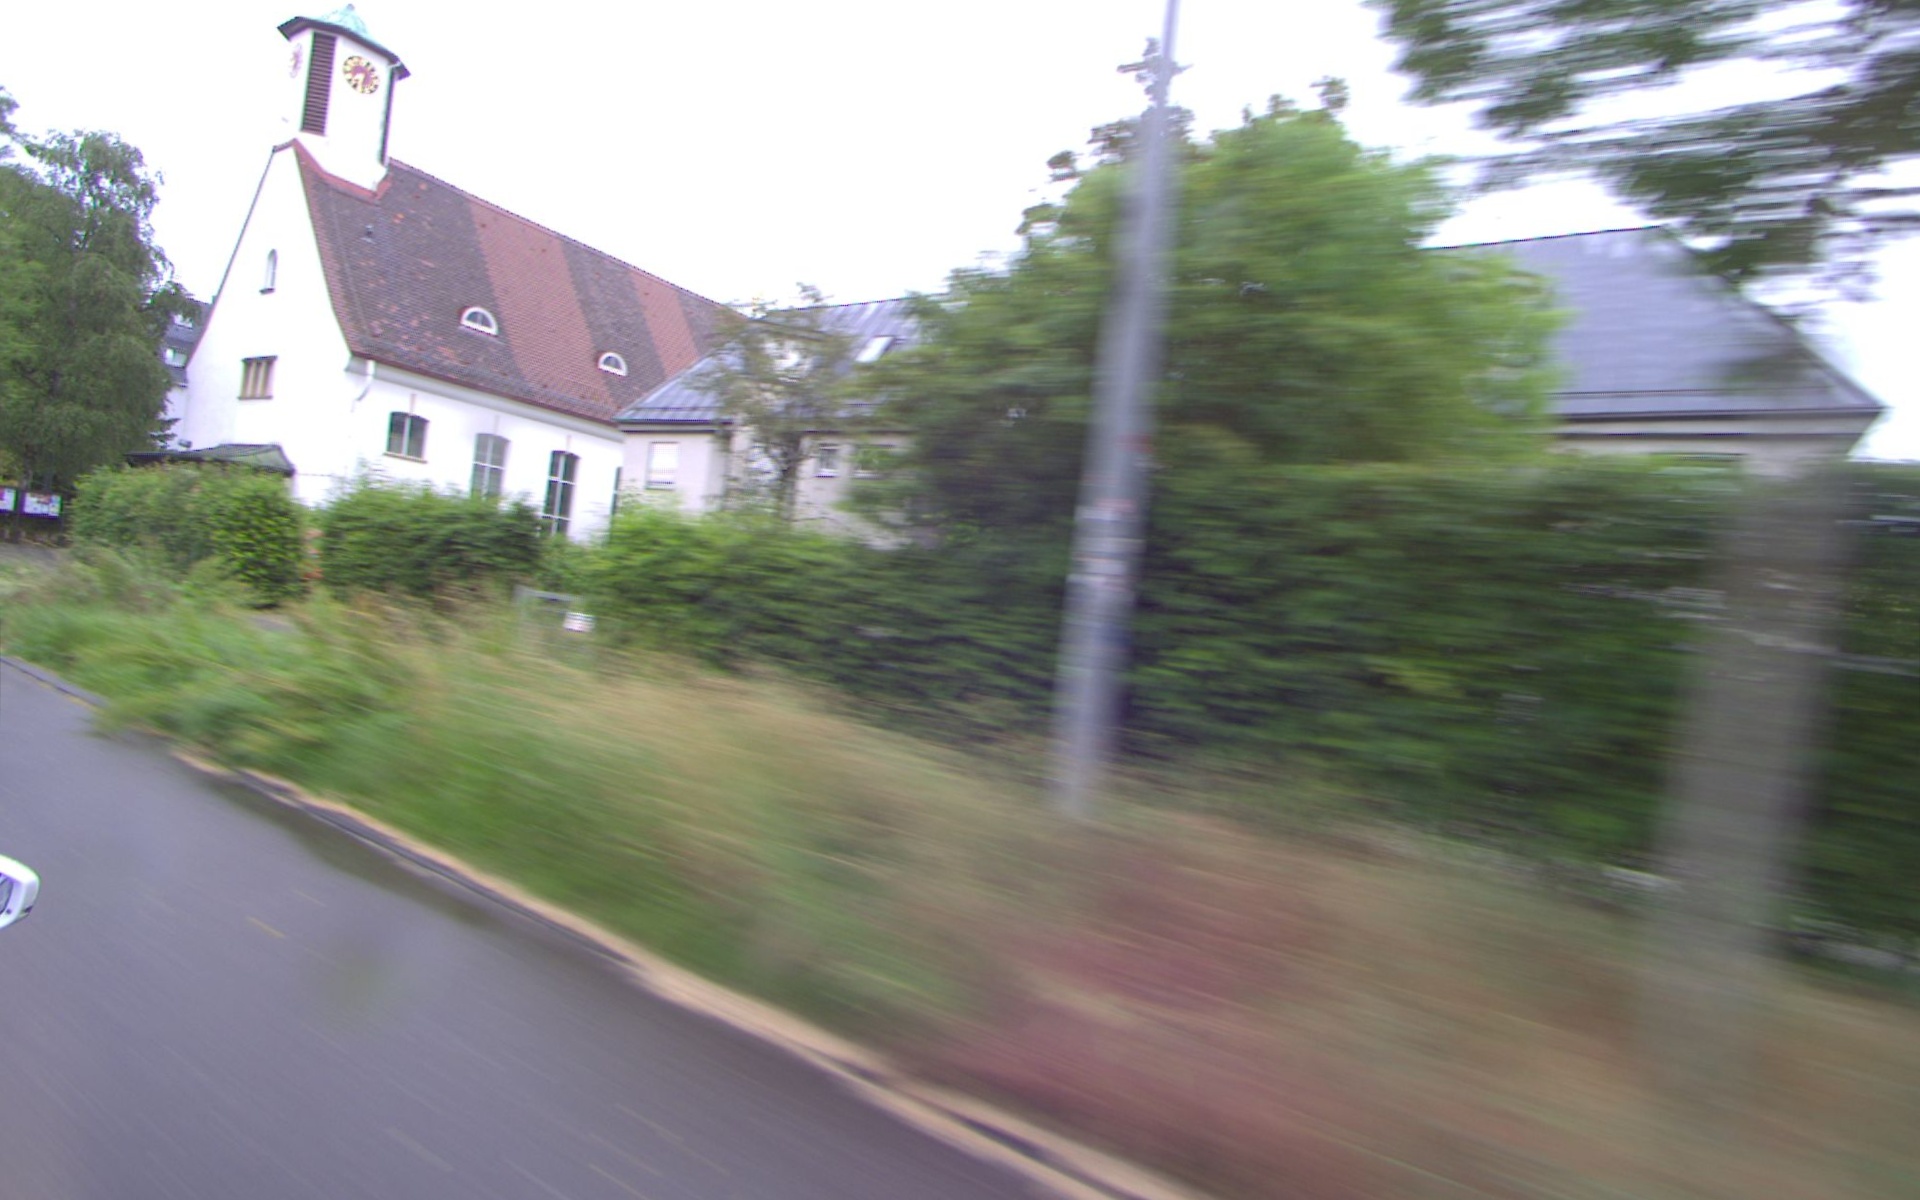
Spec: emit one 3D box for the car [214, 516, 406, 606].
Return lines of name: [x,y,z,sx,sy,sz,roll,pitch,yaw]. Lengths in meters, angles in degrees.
car: [-14.399,-0.869,22.248,3.934,1.471,1.996,7,0,32]
